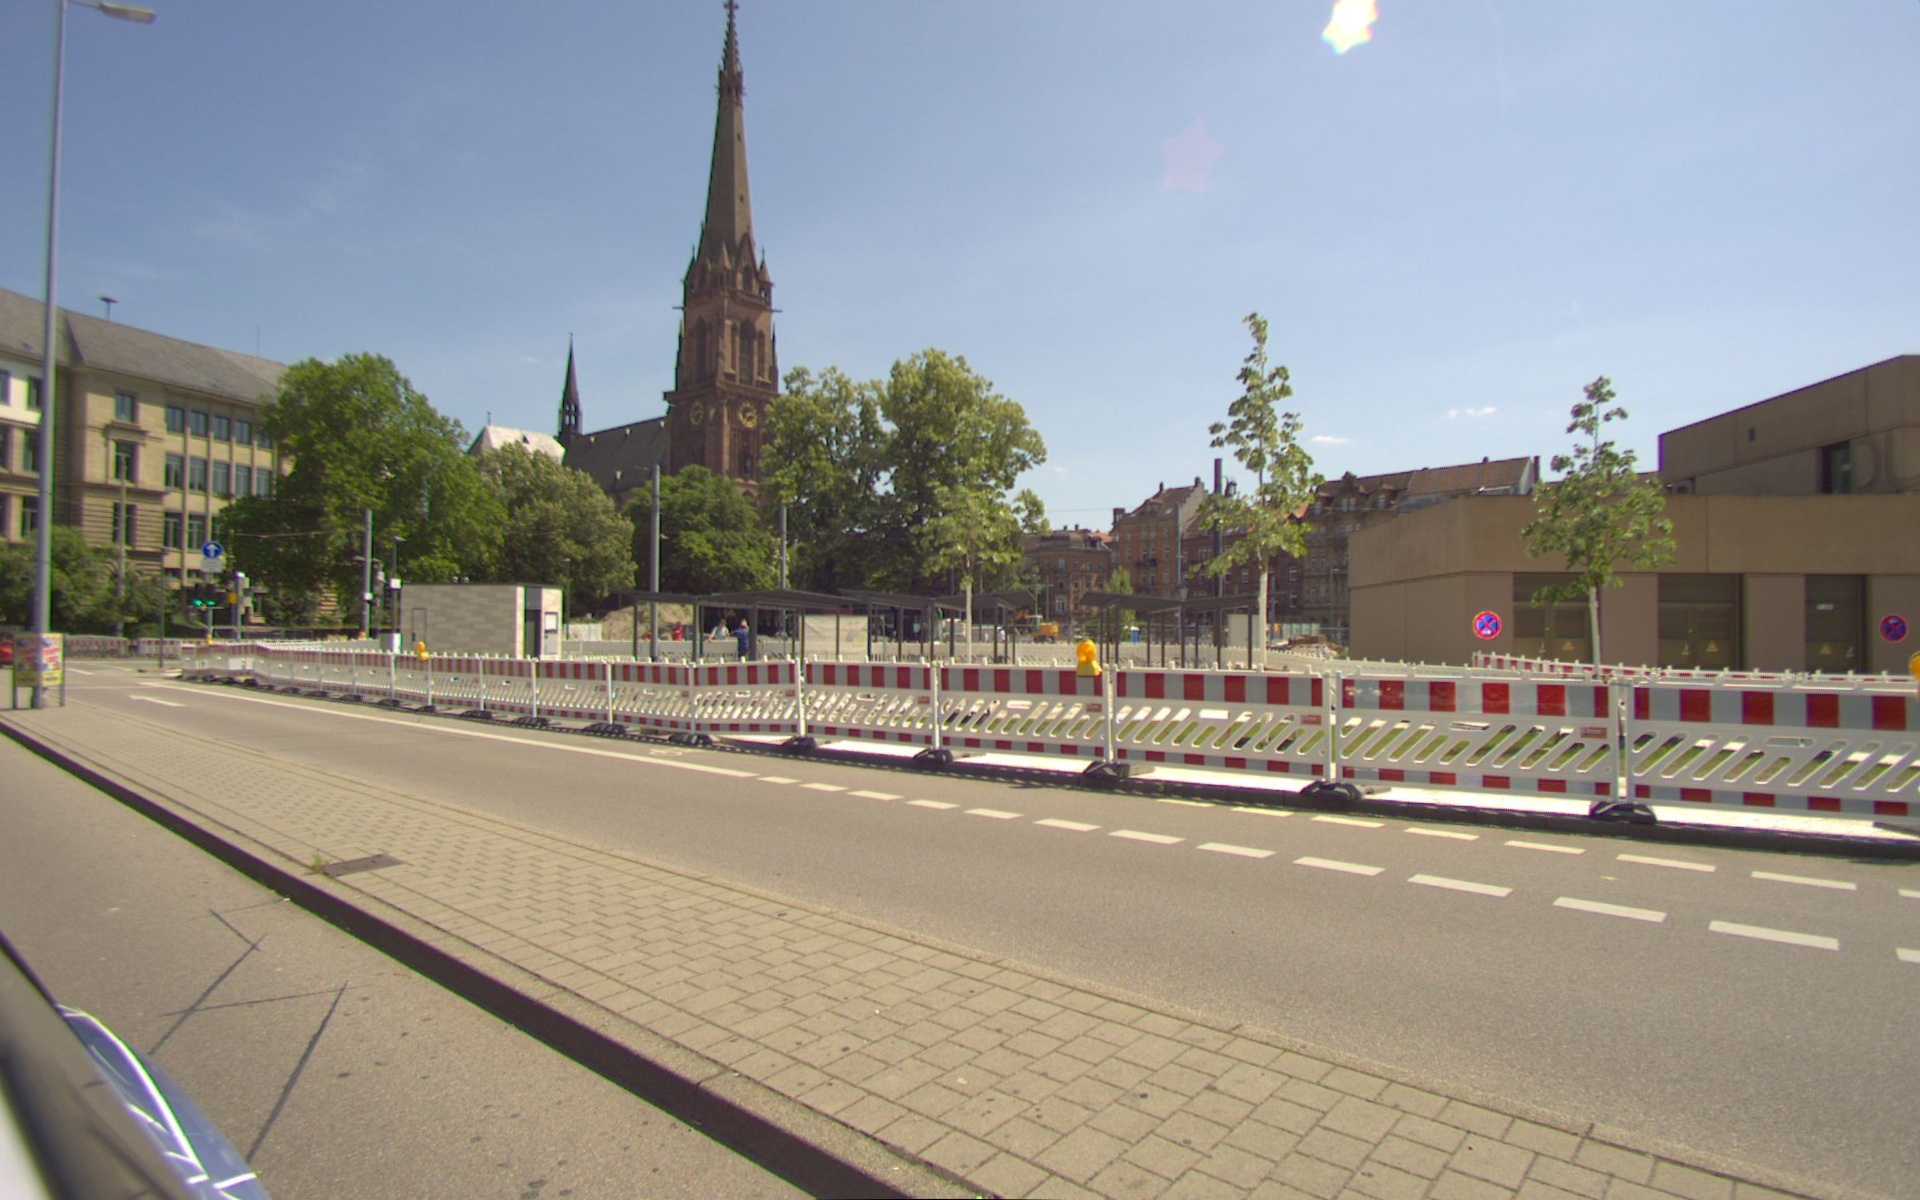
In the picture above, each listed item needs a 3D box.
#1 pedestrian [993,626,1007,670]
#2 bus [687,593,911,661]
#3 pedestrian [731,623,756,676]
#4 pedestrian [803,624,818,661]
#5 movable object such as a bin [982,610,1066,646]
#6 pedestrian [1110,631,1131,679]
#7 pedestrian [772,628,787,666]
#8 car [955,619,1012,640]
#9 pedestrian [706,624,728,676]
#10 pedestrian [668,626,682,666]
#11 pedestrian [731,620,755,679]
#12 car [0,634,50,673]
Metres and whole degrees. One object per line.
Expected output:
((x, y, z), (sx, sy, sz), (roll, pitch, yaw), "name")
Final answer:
((1.757, 2.093, 44.499), (0.598, 1.871, 0.699), (-1, 0, 2), "pedestrian")
((-7.836, 1.308, 49.607), (10.478, 3.076, 2.849), (-1, 0, 8), "bus")
((-7.429, 1.690, 34.746), (0.630, 1.802, 0.644), (-1, 0, 6), "pedestrian")
((-6.689, 1.910, 45.287), (0.513, 1.632, 0.537), (-1, 0, 2), "pedestrian")
((6.464, 2.822, 101.897), (7.931, 3.414, 2.884), (-1, 0, 26), "movable object such as a bin")
((6.865, 2.347, 43.254), (0.869, 2.029, 0.694), (-1, 0, 10), "pedestrian")
((-8.101, 2.109, 45.361), (0.539, 1.667, 0.626), (-1, 0, 2), "pedestrian")
((1.857, 2.350, 81.224), (4.224, 1.614, 1.767), (-1, 0, 27), "car")
((-8.319, 1.705, 34.671), (0.649, 1.769, 0.541), (-1, 0, -3), "pedestrian")
((-12.582, 2.037, 44.642), (0.556, 1.714, 0.582), (-1, 0, -13), "pedestrian")
((-7.188, 1.619, 33.584), (0.569, 1.920, 0.692), (-1, 0, 5), "pedestrian")
((-36.518, 2.031, 38.981), (4.012, 1.388, 1.670), (-1, -4, 42), "car")
